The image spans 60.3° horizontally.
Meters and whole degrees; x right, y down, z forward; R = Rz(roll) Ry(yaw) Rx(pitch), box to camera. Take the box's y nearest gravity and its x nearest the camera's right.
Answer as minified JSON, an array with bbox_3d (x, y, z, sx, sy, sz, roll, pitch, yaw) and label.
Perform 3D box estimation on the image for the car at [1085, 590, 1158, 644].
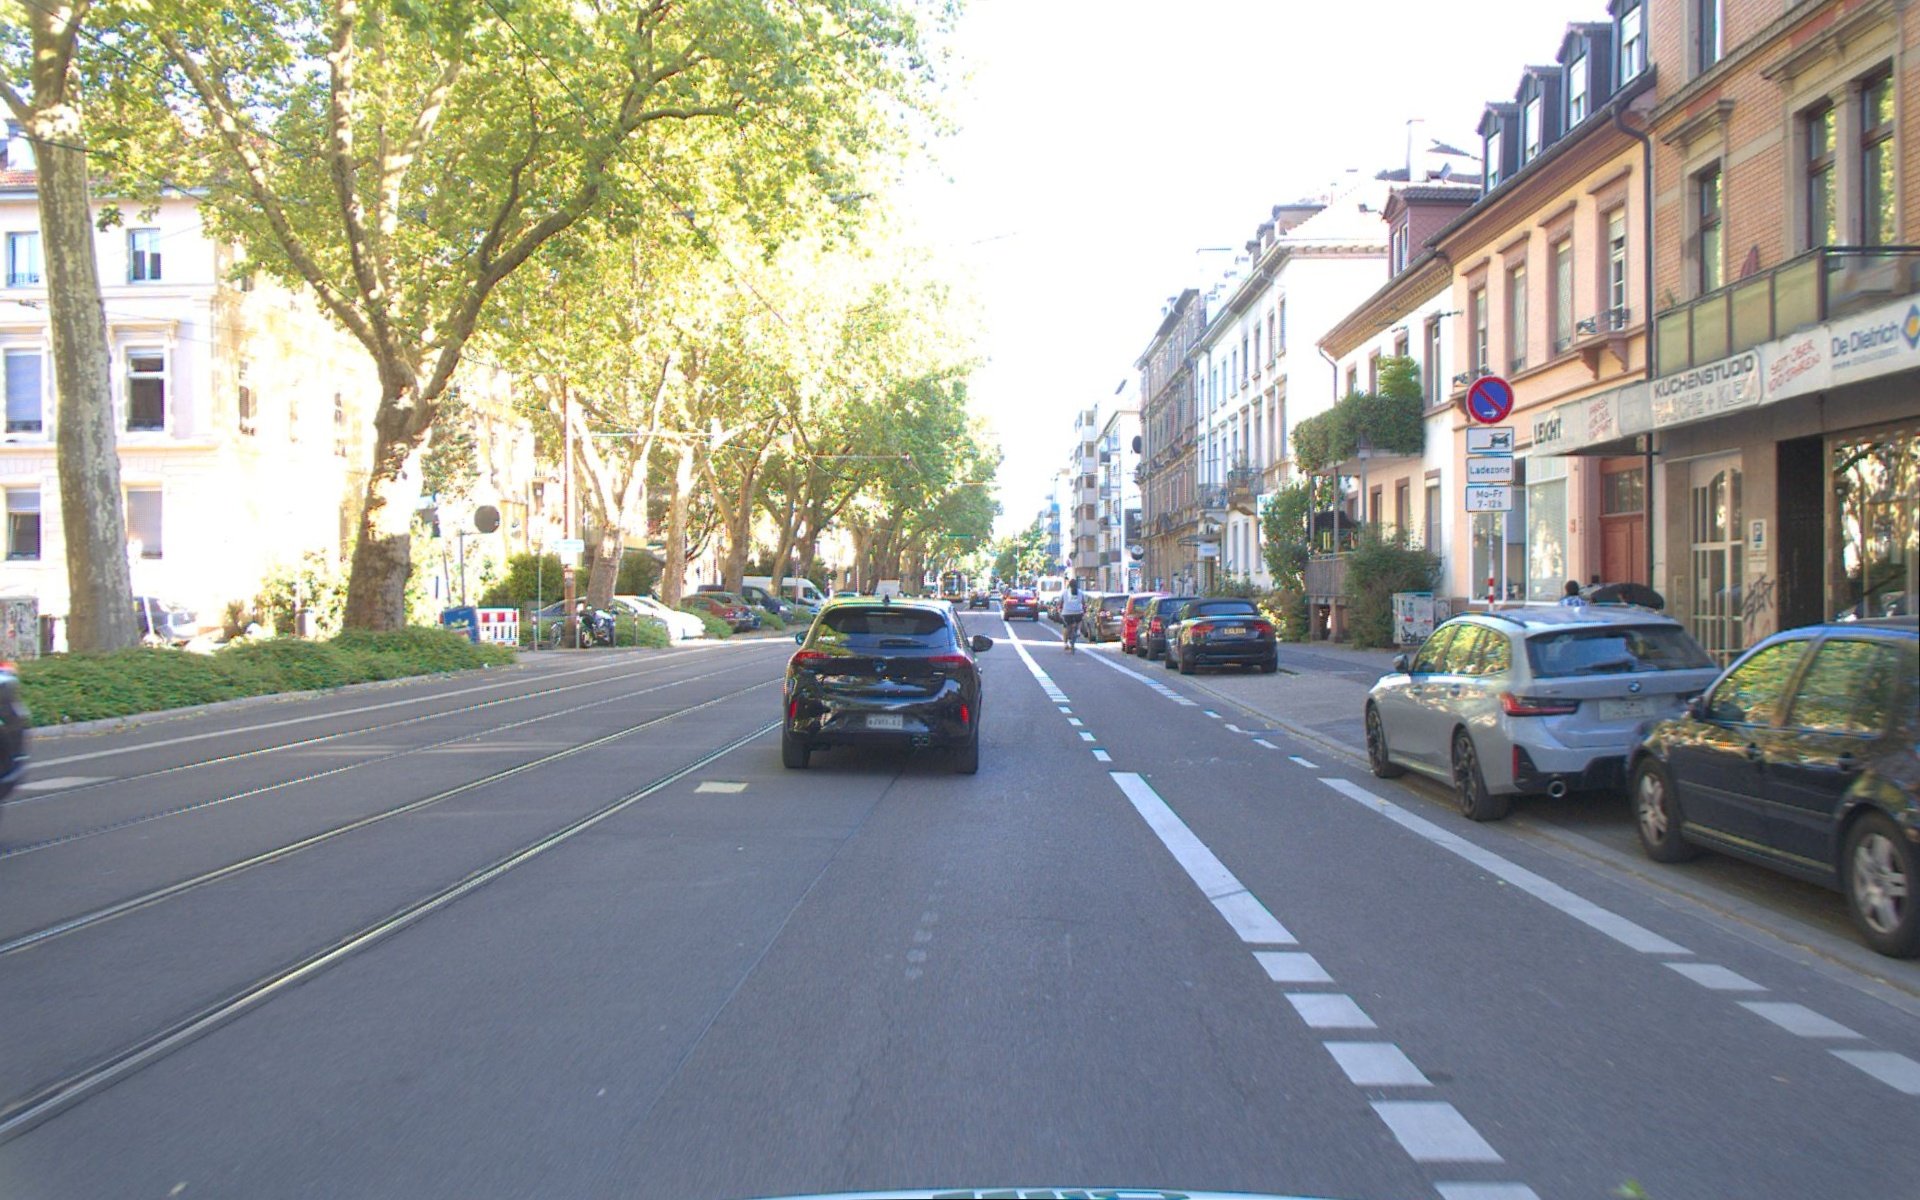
[{"bbox_3d":[5.374,0.564,55.501,1.842,1.613,3.931,-4,0,-2],"label":"car"}]

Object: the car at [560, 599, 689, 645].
[{"bbox_3d":[-10.953,0.698,54.219,3.840,1.478,1.800,0,0,1],"label":"car"}]

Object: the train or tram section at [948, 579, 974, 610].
[{"bbox_3d":[0.128,-0.709,206.843,2.678,3.746,12.720,-1,0,2],"label":"train or tram section"}]

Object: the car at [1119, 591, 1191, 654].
[{"bbox_3d":[5.153,0.575,44.011,1.600,1.574,3.577,-1,0,2],"label":"car"}]

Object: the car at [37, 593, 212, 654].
[{"bbox_3d":[-21.910,0.597,43.470,3.698,1.443,1.695,-1,3,2],"label":"car"}]

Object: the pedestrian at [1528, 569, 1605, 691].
[{"bbox_3d":[7.787,0.377,21.259,0.646,1.531,0.866,-1,0,0],"label":"pedestrian"}]

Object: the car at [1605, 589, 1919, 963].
[{"bbox_3d":[4.784,0.718,8.269,1.611,1.459,4.030,-4,0,2],"label":"car"}]

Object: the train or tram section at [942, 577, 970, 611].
[{"bbox_3d":[-0.416,-0.697,194.152,2.678,3.746,12.720,-1,0,2],"label":"train or tram section"}]

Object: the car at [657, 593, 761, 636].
[{"bbox_3d":[-10.250,0.588,67.759,3.912,1.655,1.879,1,0,1],"label":"car"}]

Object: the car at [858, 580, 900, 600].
[{"bbox_3d":[-7.626,-0.943,156.178,3.841,1.821,1.677,1,0,-2],"label":"car"}]

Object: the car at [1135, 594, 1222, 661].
[{"bbox_3d":[5.145,0.619,39.412,1.617,1.482,3.869,-1,0,1],"label":"car"}]

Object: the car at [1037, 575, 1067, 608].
[{"bbox_3d":[6.752,-0.621,122.211,2.032,2.257,4.935,-4,0,2],"label":"car"}]

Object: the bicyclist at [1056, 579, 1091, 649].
[{"bbox_3d":[2.928,0.354,42.810,0.830,1.770,1.162,0,0,0],"label":"bicyclist"}]

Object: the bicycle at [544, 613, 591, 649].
[{"bbox_3d":[-10.849,0.843,45.747,0.529,0.957,2.036,0,0,9],"label":"bicycle"}]

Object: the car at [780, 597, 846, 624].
[{"bbox_3d":[-8.984,0.632,101.307,3.841,1.524,1.677,1,0,-2],"label":"car"}]

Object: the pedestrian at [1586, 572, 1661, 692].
[{"bbox_3d":[8.520,0.402,21.264,0.644,1.509,0.785,0,0,0],"label":"pedestrian"}]

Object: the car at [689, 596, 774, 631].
[{"bbox_3d":[-10.576,0.625,76.671,3.657,1.524,1.747,1,0,1],"label":"car"}]

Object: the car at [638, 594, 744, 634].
[{"bbox_3d":[-10.621,0.551,65.443,3.839,1.467,1.749,1,0,1],"label":"car"}]

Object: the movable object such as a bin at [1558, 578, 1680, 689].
[{"bbox_3d":[9.472,0.467,23.834,1.266,1.547,1.286,0,0,1],"label":"movable object such as a bin"}]

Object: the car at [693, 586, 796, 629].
[{"bbox_3d":[-10.337,0.355,79.461,4.578,1.957,1.980,1,0,2],"label":"car"}]

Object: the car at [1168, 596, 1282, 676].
[{"bbox_3d":[5.094,0.651,32.278,1.658,1.417,4.496,-1,0,2],"label":"car"}]

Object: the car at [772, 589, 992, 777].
[{"bbox_3d":[-0.593,0.650,15.002,1.757,1.466,3.532,0,1,1],"label":"car"}]

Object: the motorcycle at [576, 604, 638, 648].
[{"bbox_3d":[-9.756,0.709,45.822,0.865,1.167,2.392,0,0,9],"label":"motorcycle"}]

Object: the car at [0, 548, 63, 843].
[{"bbox_3d":[-6.349,0.570,7.651,1.828,1.658,4.561,-1,1,1],"label":"car"}]

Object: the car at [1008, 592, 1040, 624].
[{"bbox_3d":[3.628,0.428,93.261,1.772,1.773,3.934,0,0,2],"label":"car"}]

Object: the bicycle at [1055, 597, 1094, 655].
[{"bbox_3d":[2.936,0.653,42.761,0.843,1.431,2.524,0,0,0],"label":"bicycle"}]

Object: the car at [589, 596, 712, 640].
[{"bbox_3d":[-10.624,0.602,56.964,3.838,1.488,1.806,0,0,1],"label":"car"}]

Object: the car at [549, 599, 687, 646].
[{"bbox_3d":[-10.622,0.691,51.582,3.838,1.355,1.848,1,0,2],"label":"car"}]

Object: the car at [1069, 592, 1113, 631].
[{"bbox_3d":[5.572,0.478,70.787,1.675,1.509,3.765,-4,0,2],"label":"car"}]

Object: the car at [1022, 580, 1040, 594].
[{"bbox_3d":[7.458,-1.358,172.772,1.772,1.361,3.934,-4,0,2],"label":"car"}]

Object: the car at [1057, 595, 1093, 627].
[{"bbox_3d":[5.896,0.533,84.614,1.669,1.481,3.699,-4,0,4],"label":"car"}]

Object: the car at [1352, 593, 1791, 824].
[{"bbox_3d":[4.522,0.708,13.074,1.772,1.460,4.665,-1,0,1],"label":"car"}]

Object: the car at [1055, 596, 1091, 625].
[{"bbox_3d":[6.045,0.551,88.916,1.772,1.361,3.934,-4,0,2],"label":"car"}]

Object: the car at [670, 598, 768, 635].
[{"bbox_3d":[-10.207,0.682,70.163,3.840,1.446,1.818,1,0,0],"label":"car"}]

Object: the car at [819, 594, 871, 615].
[{"bbox_3d":[-8.699,0.357,125.640,3.841,1.524,1.677,1,0,-2],"label":"car"}]

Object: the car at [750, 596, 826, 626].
[{"bbox_3d":[-9.228,0.590,89.094,3.838,1.524,1.678,1,0,2],"label":"car"}]

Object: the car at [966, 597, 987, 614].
[{"bbox_3d":[1.375,0.434,137.400,1.772,1.362,3.933,0,0,1],"label":"car"}]

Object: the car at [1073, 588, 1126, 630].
[{"bbox_3d":[5.449,0.348,64.904,1.841,1.481,4.027,-4,0,2],"label":"car"}]

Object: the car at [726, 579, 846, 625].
[{"bbox_3d":[-9.922,0.106,94.693,6.491,2.451,2.458,1,0,1],"label":"car"}]

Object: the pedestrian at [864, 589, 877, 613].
[{"bbox_3d":[-6.147,0.063,113.639,0.756,1.594,0.676,0,0,-23],"label":"pedestrian"}]
